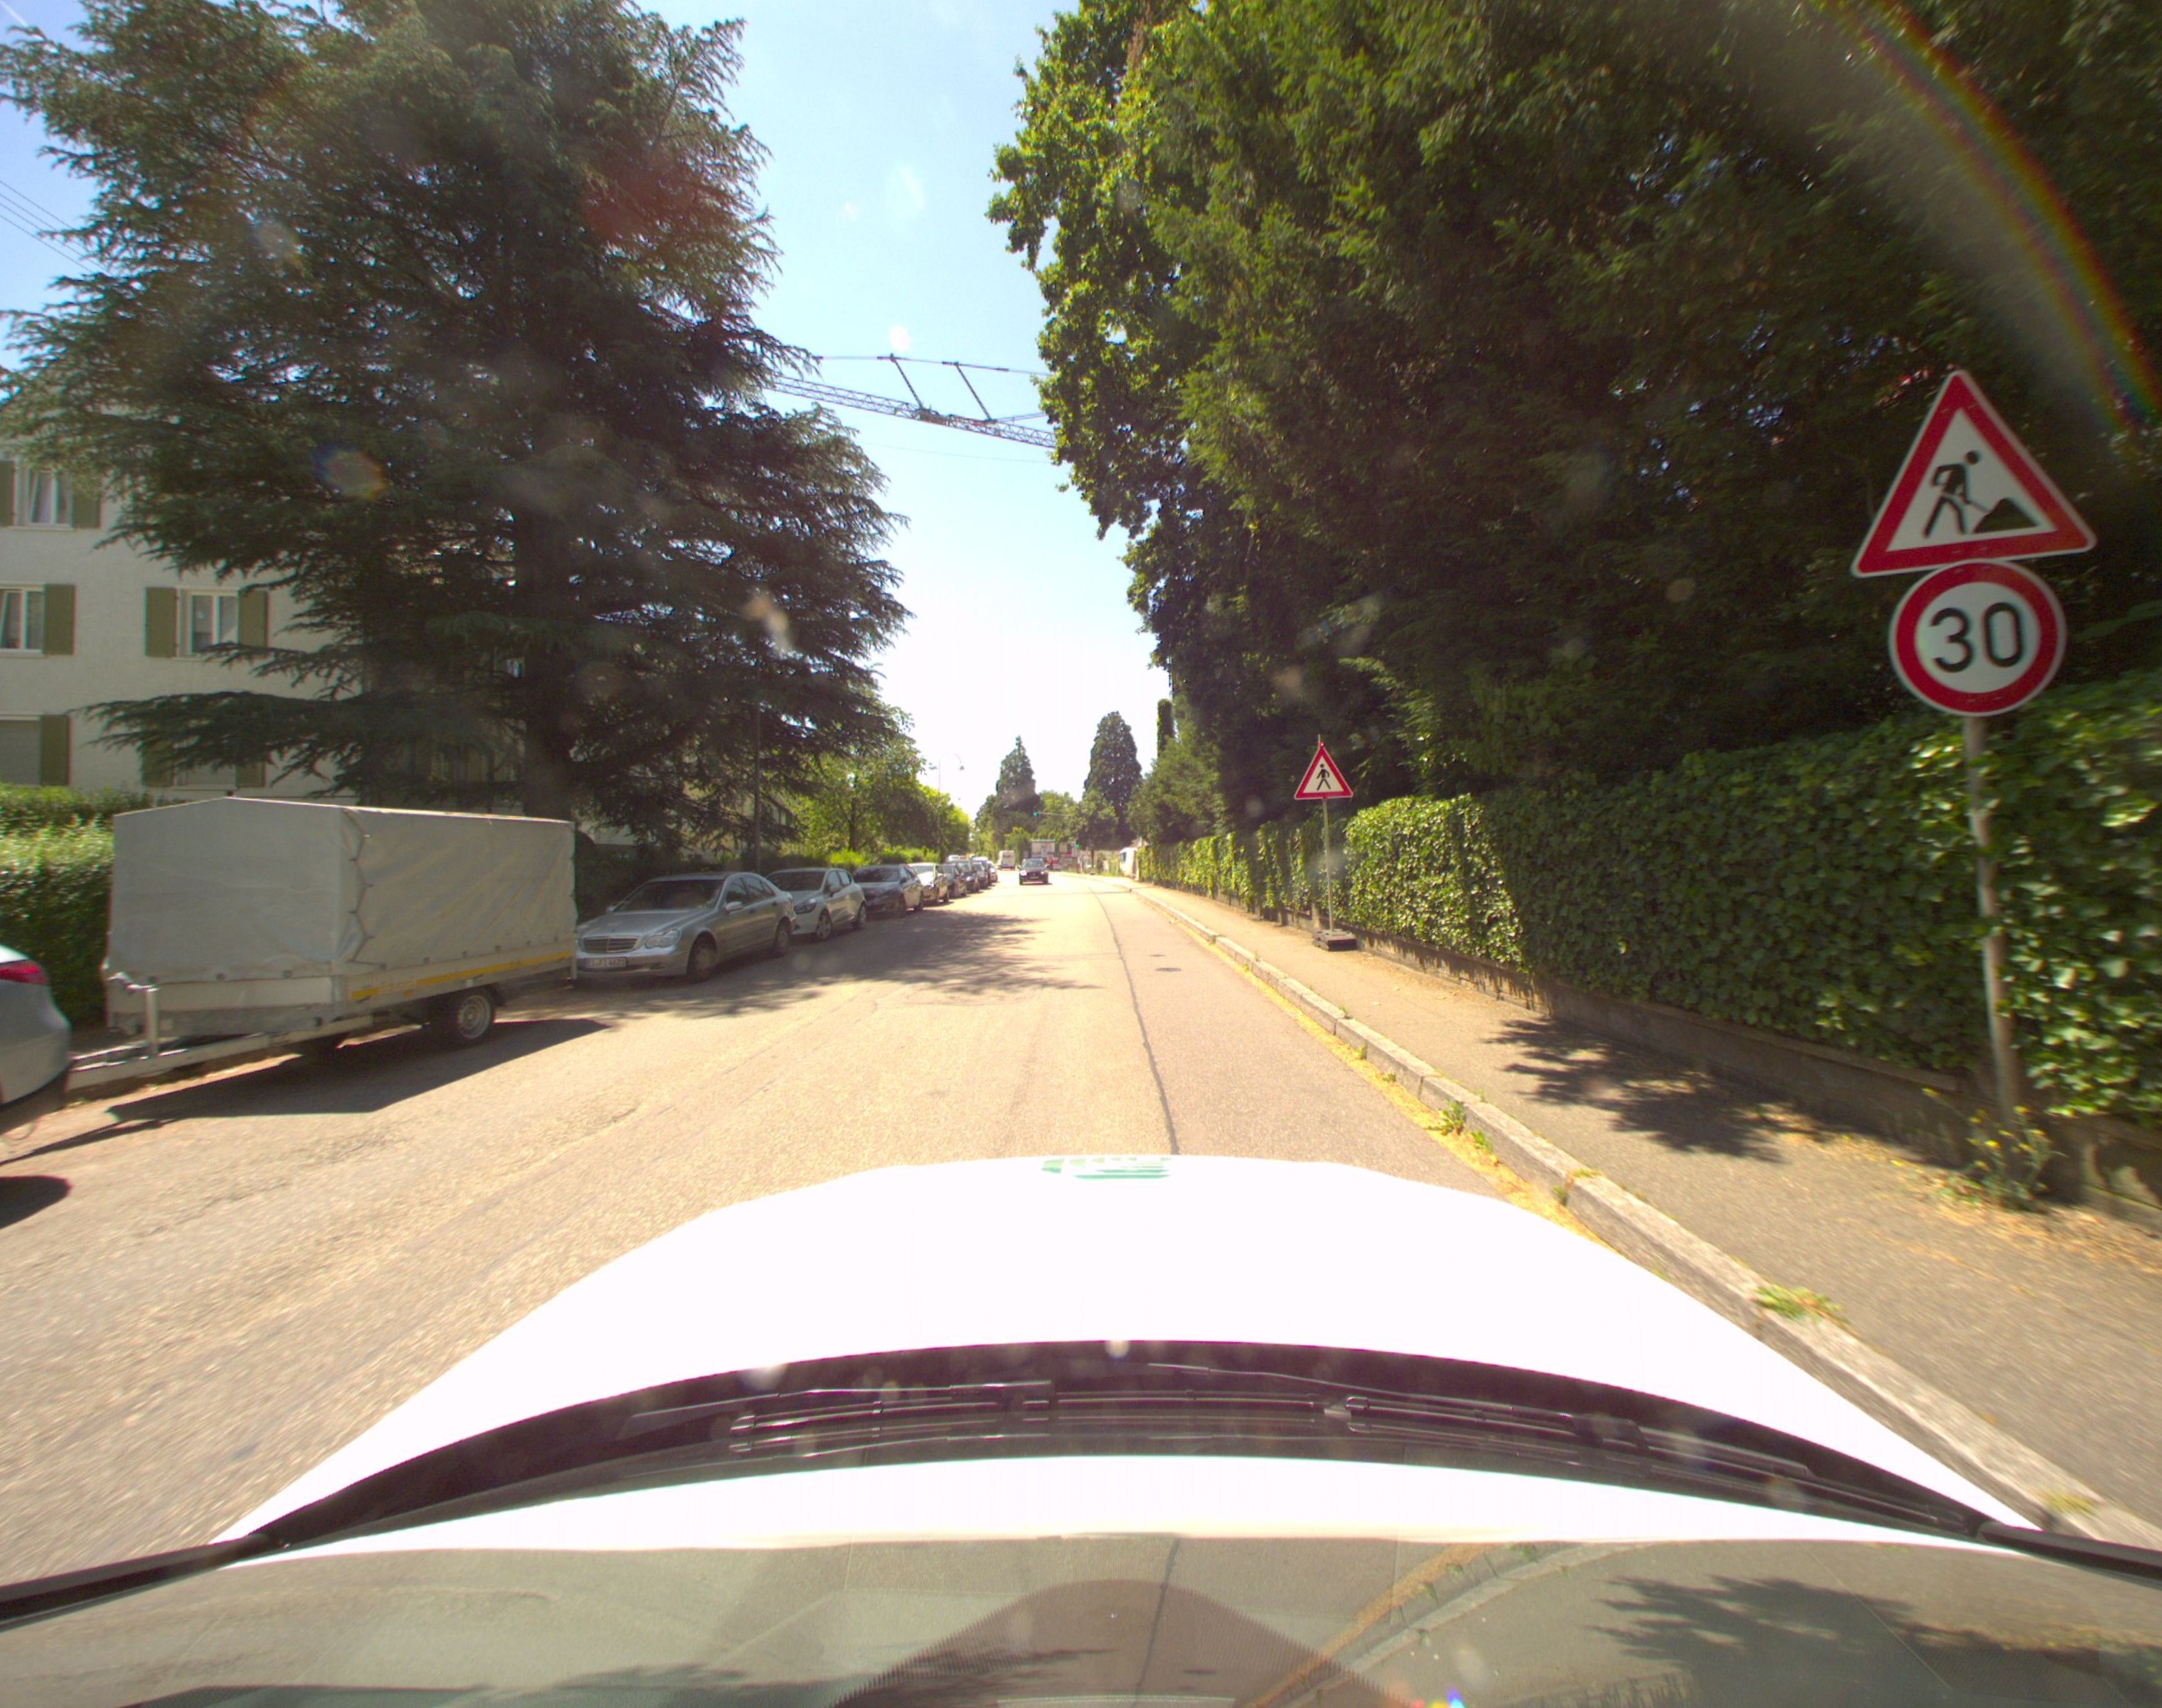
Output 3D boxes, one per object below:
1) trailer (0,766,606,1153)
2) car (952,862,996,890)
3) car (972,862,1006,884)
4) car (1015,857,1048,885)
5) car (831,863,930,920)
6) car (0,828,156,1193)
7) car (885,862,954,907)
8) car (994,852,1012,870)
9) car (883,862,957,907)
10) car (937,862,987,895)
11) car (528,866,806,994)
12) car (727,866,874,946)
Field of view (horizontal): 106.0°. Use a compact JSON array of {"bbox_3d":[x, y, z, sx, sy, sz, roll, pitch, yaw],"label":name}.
[{"bbox_3d":[-5.918,0.602,6.436,1.842,2.040,4.162,-2,-1,0],"label":"trailer"},{"bbox_3d":[-5.768,1.157,44.243,1.682,1.444,4.137,-1,-1,2],"label":"car"},{"bbox_3d":[-6.314,1.286,56.243,1.682,1.444,4.137,-1,-1,2],"label":"car"},{"bbox_3d":[-3.008,1.028,49.874,1.847,1.584,4.132,-1,-1,-2],"label":"car"},{"bbox_3d":[-5.581,0.989,23.177,1.682,1.444,4.137,-1,-1,1],"label":"car"},{"bbox_3d":[-5.884,0.731,1.989,1.845,1.671,4.711,-2,-1,0],"label":"car"},{"bbox_3d":[-5.663,1.032,28.933,1.684,1.449,3.998,0,0,-1],"label":"car"},{"bbox_3d":[-10.368,0.918,108.507,2.142,2.315,4.839,-2,0,-8],"label":"car"},{"bbox_3d":[-5.619,1.029,28.948,1.682,1.444,4.137,-1,-1,2],"label":"car"},{"bbox_3d":[-5.643,1.133,39.054,1.682,1.444,4.137,-1,-1,2],"label":"car"},{"bbox_3d":[-5.695,0.943,11.921,1.703,1.439,4.323,-2,-1,2],"label":"car"},{"bbox_3d":[-5.649,0.979,16.890,1.577,1.390,3.884,-1,0,2],"label":"car"}]
